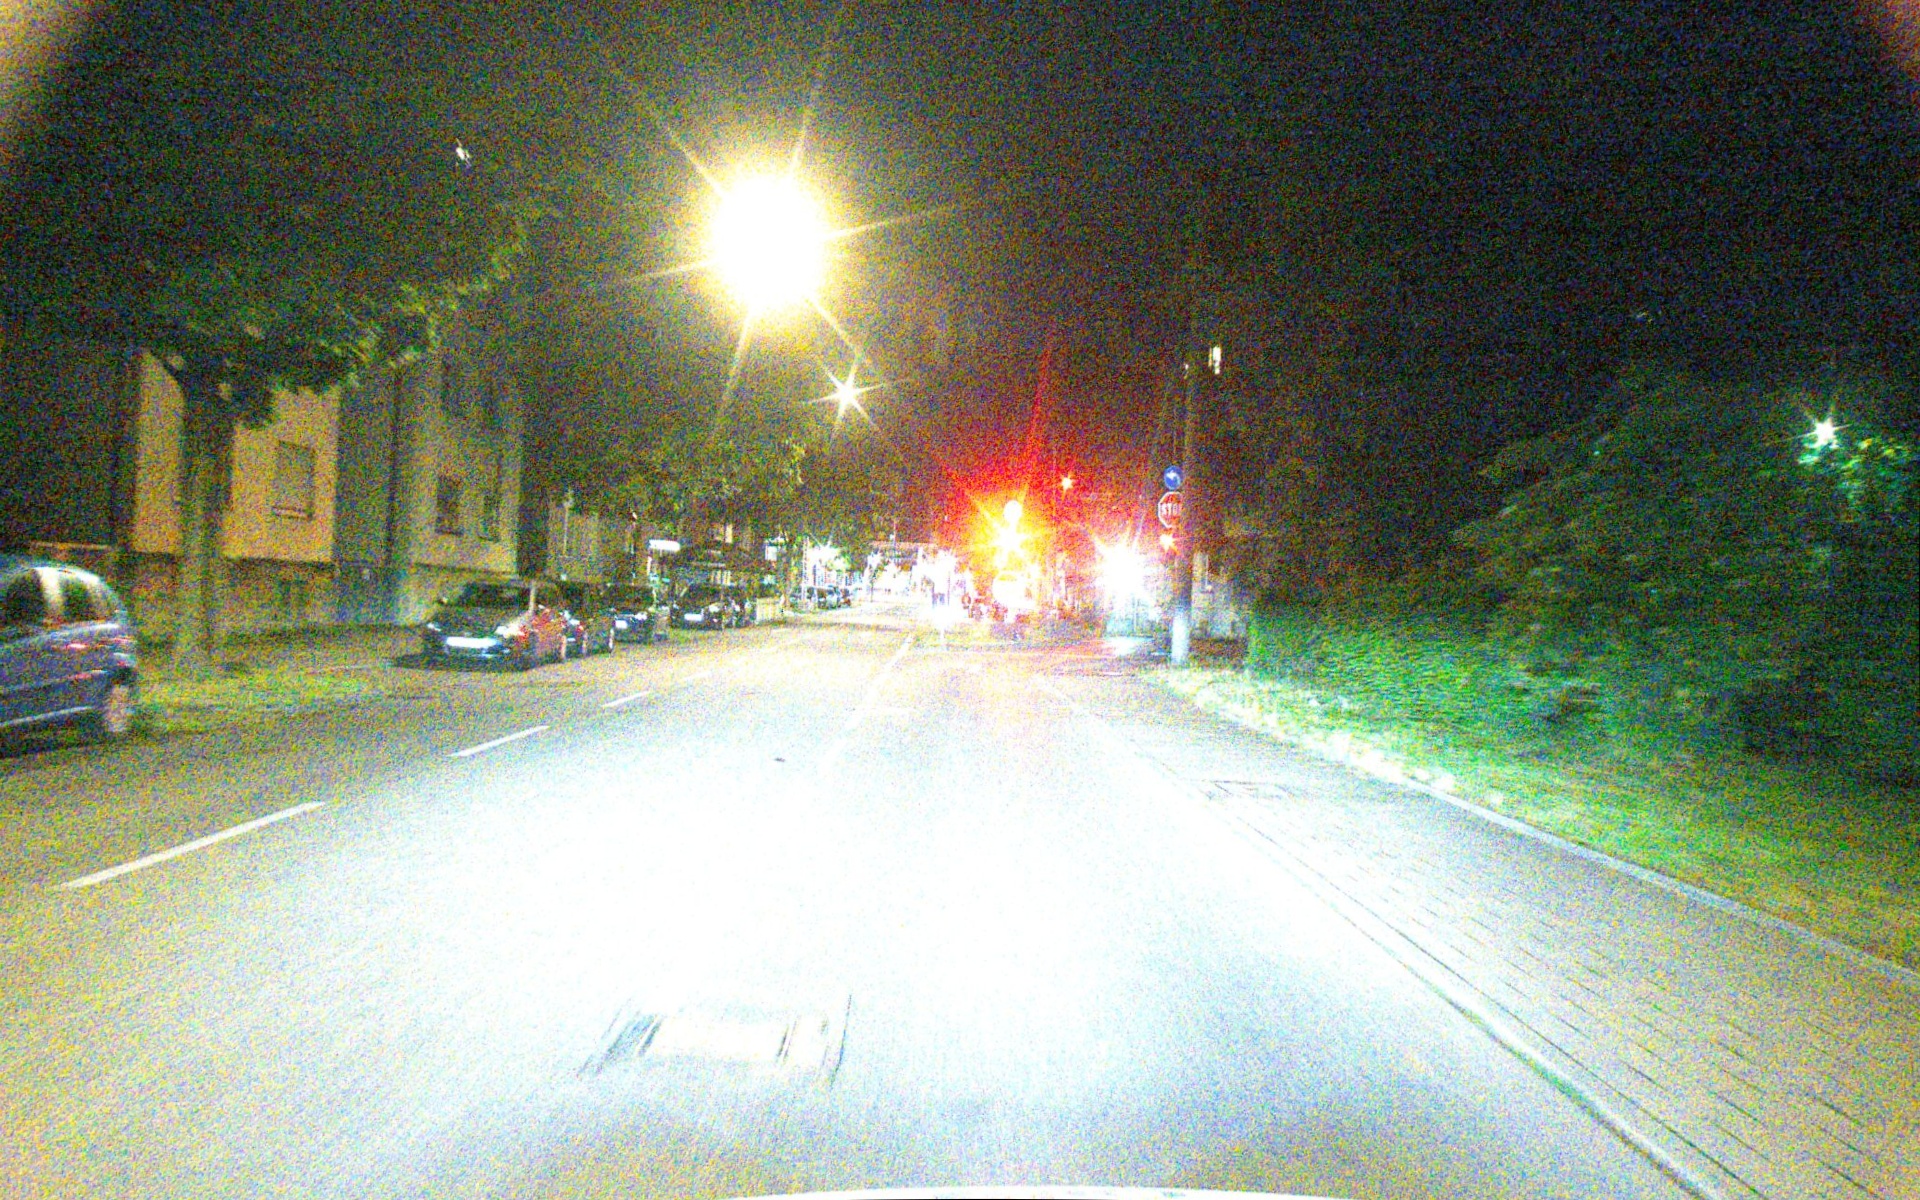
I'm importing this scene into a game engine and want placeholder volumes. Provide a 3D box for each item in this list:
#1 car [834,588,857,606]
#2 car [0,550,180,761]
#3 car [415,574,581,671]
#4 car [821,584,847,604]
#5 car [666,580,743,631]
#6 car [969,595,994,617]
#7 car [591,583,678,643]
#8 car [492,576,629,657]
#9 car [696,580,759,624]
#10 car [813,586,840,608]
[{"bbox_3d":[-9.547,-0.234,137.855,1.618,1.456,3.999,2,0,-1],"label":"car"},{"bbox_3d":[-7.797,0.363,12.747,1.679,1.520,3.989,3,0,-1],"label":"car"},{"bbox_3d":[-7.977,0.351,28.996,1.732,1.511,4.765,2,0,-3],"label":"car"},{"bbox_3d":[-9.445,-0.441,124.121,1.618,1.456,3.999,2,0,-1],"label":"car"},{"bbox_3d":[-8.531,0.147,55.553,1.861,1.497,4.451,4,1,-1],"label":"car"},{"bbox_3d":[1.483,0.394,113.842,1.617,1.456,4.000,2,0,1],"label":"car"},{"bbox_3d":[-8.281,0.310,42.395,1.590,1.407,4.449,2,0,-4],"label":"car"},{"bbox_3d":[-8.124,0.309,34.058,1.732,1.511,4.862,2,0,-2],"label":"car"},{"bbox_3d":[-8.474,0.069,60.548,1.767,1.507,4.322,2,0,-2],"label":"car"},{"bbox_3d":[-9.435,-0.236,117.234,1.618,1.456,3.999,2,0,-1],"label":"car"}]
